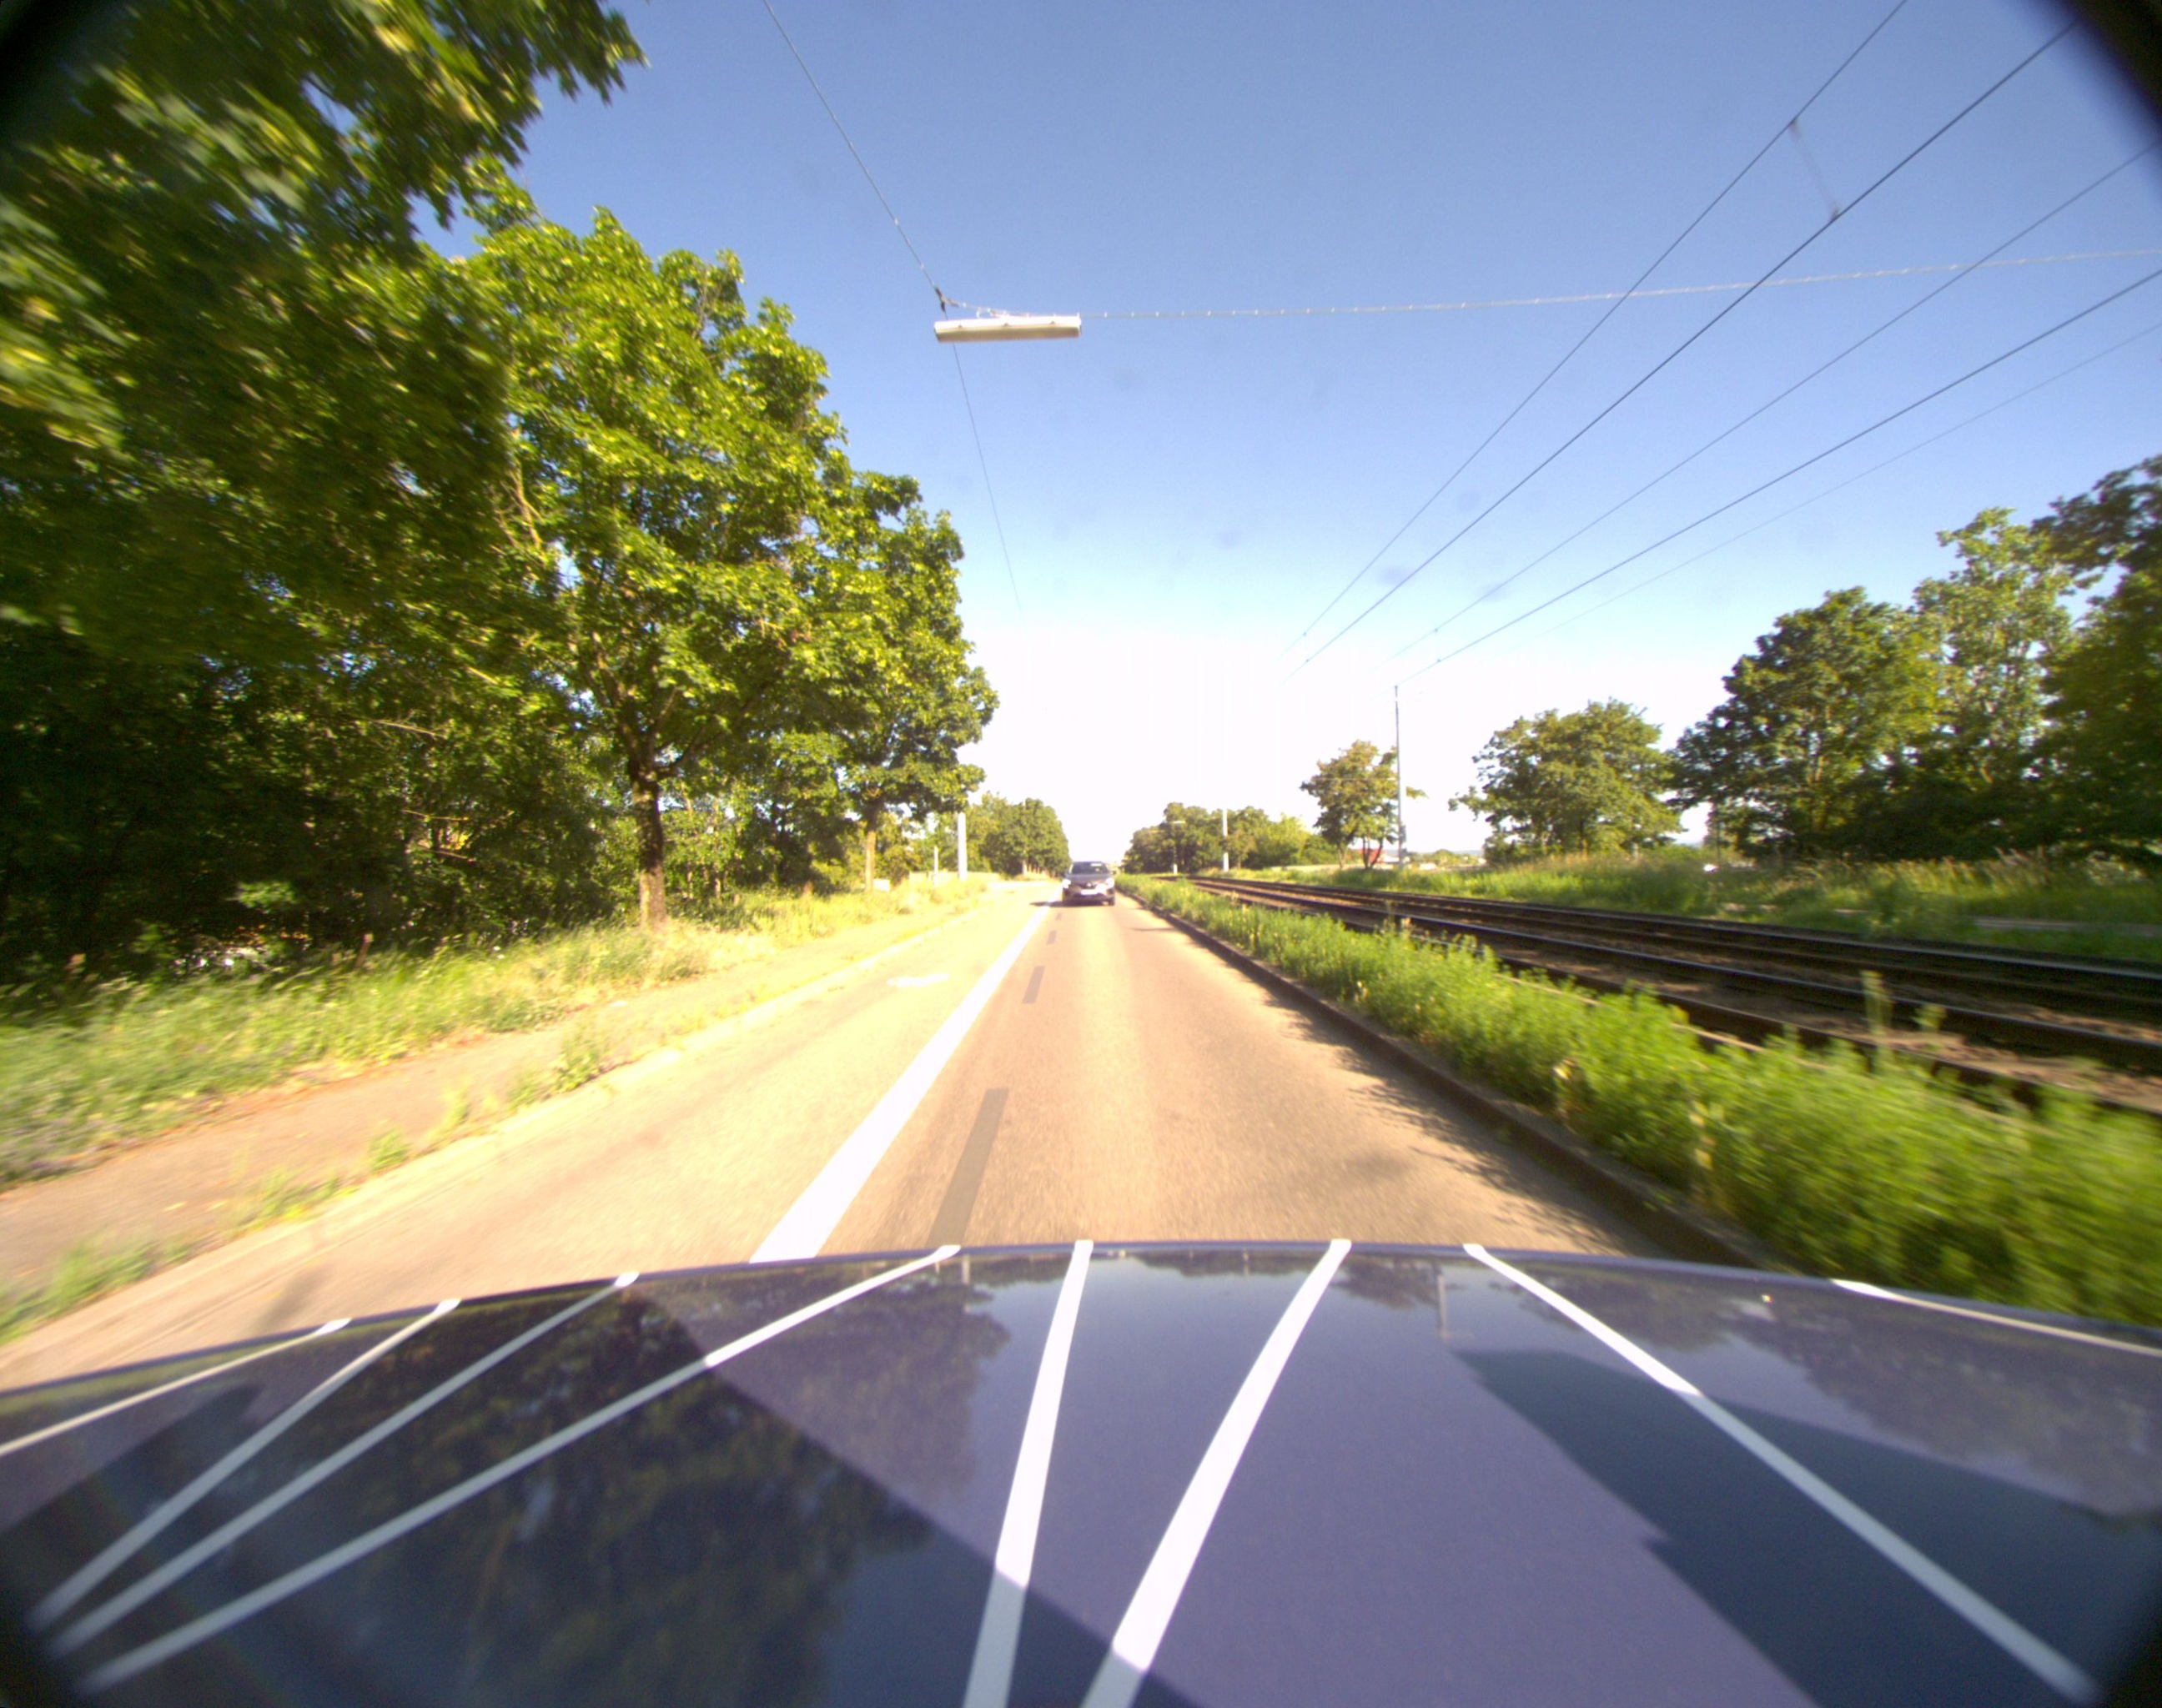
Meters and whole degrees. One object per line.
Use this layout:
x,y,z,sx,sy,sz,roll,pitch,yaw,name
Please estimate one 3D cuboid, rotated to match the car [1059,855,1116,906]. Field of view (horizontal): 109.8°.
0.242,0.951,27.461,1.814,1.624,4.711,-3,-2,0,car
